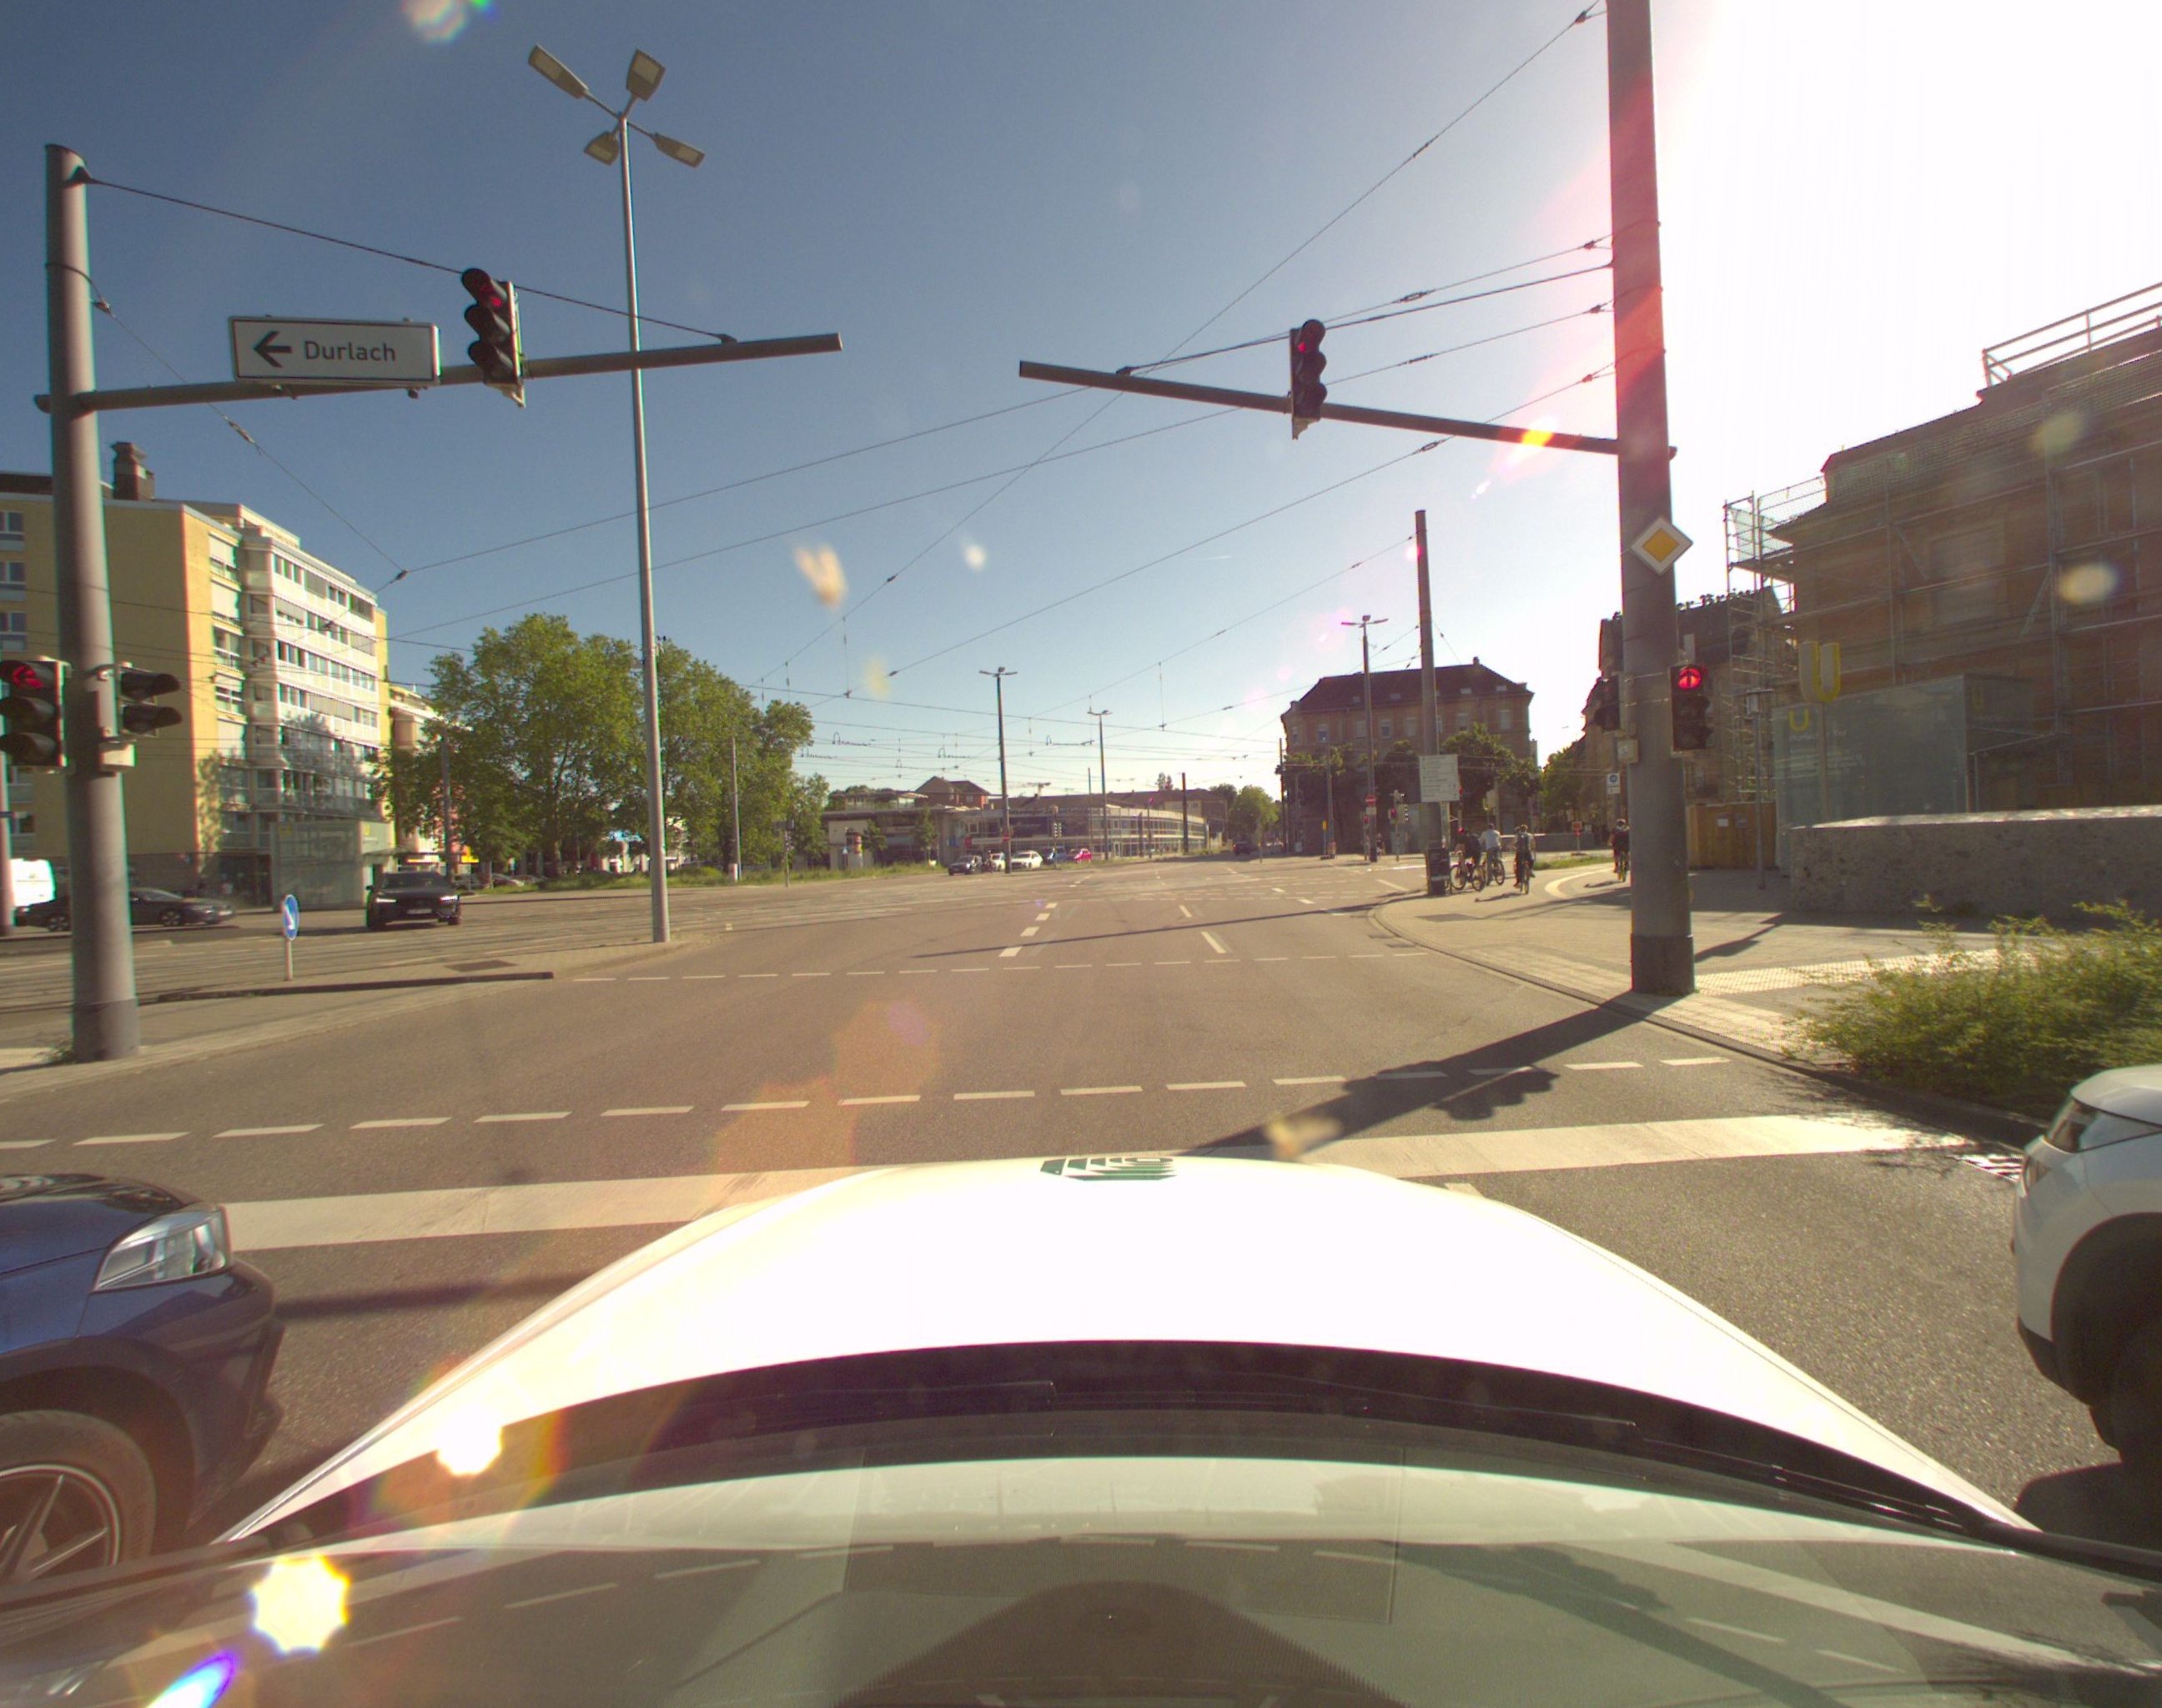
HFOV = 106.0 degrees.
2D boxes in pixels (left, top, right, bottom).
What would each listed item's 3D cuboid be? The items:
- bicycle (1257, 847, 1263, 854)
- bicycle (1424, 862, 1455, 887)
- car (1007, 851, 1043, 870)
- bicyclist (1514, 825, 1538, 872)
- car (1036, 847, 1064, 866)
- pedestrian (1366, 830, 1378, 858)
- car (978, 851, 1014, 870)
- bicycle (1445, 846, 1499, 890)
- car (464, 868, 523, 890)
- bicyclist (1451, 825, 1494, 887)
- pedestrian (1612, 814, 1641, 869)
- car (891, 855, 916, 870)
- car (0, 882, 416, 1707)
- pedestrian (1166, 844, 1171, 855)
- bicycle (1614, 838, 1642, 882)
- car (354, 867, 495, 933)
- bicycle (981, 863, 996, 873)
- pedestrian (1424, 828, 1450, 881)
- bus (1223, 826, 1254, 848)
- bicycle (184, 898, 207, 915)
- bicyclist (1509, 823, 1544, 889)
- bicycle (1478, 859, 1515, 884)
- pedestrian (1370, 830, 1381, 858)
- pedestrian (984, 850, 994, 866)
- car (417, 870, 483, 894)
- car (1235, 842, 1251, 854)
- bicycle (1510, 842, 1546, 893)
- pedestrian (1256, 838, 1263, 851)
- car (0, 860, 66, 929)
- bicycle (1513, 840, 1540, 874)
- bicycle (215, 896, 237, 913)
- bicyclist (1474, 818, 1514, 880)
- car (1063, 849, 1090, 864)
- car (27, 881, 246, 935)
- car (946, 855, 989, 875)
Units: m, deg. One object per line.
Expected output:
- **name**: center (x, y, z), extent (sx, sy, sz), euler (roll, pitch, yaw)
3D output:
- **bicycle**: center (22.927, -0.474, 104.309), extent (0.738, 0.870, 1.938), euler (-2, 0, 13)
- **bicycle**: center (10.899, 0.623, 24.788), extent (0.533, 0.655, 1.732), euler (-5, 0, 14)
- **car**: center (-4.475, 0.516, 65.216), extent (1.613, 1.382, 3.754), euler (-2, 0, 17)
- **bicyclist**: center (15.418, -0.195, 28.248), extent (0.567, 1.568, 0.951), euler (-2, 0, 20)
- **car**: center (-2.995, 0.240, 79.209), extent (1.613, 1.692, 3.702), euler (-2, 0, 17)
- **pedestrian**: center (21.322, -0.714, 59.634), extent (0.574, 2.013, 0.449), euler (-3, 0, -16)
- **car**: center (-6.981, 0.555, 67.160), extent (1.613, 1.424, 3.702), euler (-2, 0, 17)
- **bicycle**: center (10.794, 0.365, 22.526), extent (0.623, 1.114, 1.853), euler (-4, 0, 4)
- **car**: center (-51.295, 2.188, 71.164), extent (3.742, 1.662, 1.585), euler (-2, 0, -18)
- **bicyclist**: center (10.764, 0.056, 22.429), extent (0.623, 1.637, 0.996), euler (-4, 0, 3)
- **pedestrian**: center (14.623, -0.347, 21.825), extent (0.511, 1.402, 0.968), euler (-4, 0, 36)
- **car**: center (-21.874, 1.076, 100.586), extent (1.958, 1.706, 4.085), euler (-2, 0, 2)
- **car**: center (-2.664, 0.806, 0.115), extent (1.704, 1.445, 4.034), euler (-1, 0, 2)
- **pedestrian**: center (13.757, -0.772, 127.503), extent (0.538, 1.688, 0.633), euler (-2, 0, 20)
- **bicycle**: center (14.679, 0.146, 21.844), extent (0.511, 1.044, 1.780), euler (-4, 0, 36)
- **car**: center (-19.172, 1.259, 24.026), extent (1.869, 1.659, 4.047), euler (-2, 0, -18)
- **bicycle**: center (-6.908, 1.025, 60.617), extent (0.419, 0.718, 1.642), euler (-2, 0, 19)
- **pedestrian**: center (10.808, 0.019, 24.731), extent (0.544, 1.562, 0.861), euler (-2, 0, 13)
- **bus**: center (30.452, -3.051, 156.076), extent (3.808, 3.607, 24.970), euler (-1, 0, 16)
- **bicycle**: center (-47.389, 2.804, 43.598), extent (0.462, 0.780, 1.789), euler (-2, 0, -35)
- **bicyclist**: center (11.125, 0.040, 20.345), extent (0.679, 1.598, 0.983), euler (-2, 0, 27)
- **bicycle**: center (12.384, 0.518, 24.321), extent (0.534, 0.655, 1.471), euler (-3, 0, 9)
- **pedestrian**: center (21.837, -0.749, 60.386), extent (0.461, 2.013, 0.449), euler (-3, 0, -16)
- **pedestrian**: center (-6.885, 0.280, 60.765), extent (0.419, 1.204, 0.753), euler (-2, 0, 19)
- **car**: center (-49.721, 2.160, 64.240), extent (3.742, 1.662, 1.585), euler (-2, 0, -18)
- **car**: center (21.506, -0.804, 107.874), extent (1.686, 1.503, 4.284), euler (-2, 0, 17)
- **bicycle**: center (11.113, 0.312, 20.292), extent (0.679, 1.163, 1.895), euler (-2, 0, 27)
- **pedestrian**: center (22.952, -1.169, 104.675), extent (0.797, 1.632, 0.721), euler (-2, 0, 13)
- **car**: center (-45.779, 1.749, 32.736), extent (5.920, 2.744, 2.131), euler (-2, 0, -18)
- **bicycle**: center (15.421, 0.103, 28.221), extent (0.567, 1.125, 1.749), euler (-2, 0, 20)
- **bicycle**: center (-46.559, 2.744, 44.367), extent (0.489, 0.812, 1.595), euler (-2, 0, -35)
- **bicyclist**: center (12.320, -0.146, 24.313), extent (0.742, 1.778, 0.926), euler (-3, 0, 9)
- **car**: center (-0.444, 0.247, 86.280), extent (1.613, 1.364, 3.703), euler (-2, 0, 18)
- **car**: center (-32.512, 1.823, 28.209), extent (4.567, 1.501, 1.853), euler (-2, 0, -19)
- **car**: center (-8.501, 0.780, 61.236), extent (1.689, 1.354, 3.719), euler (-2, 0, 19)
